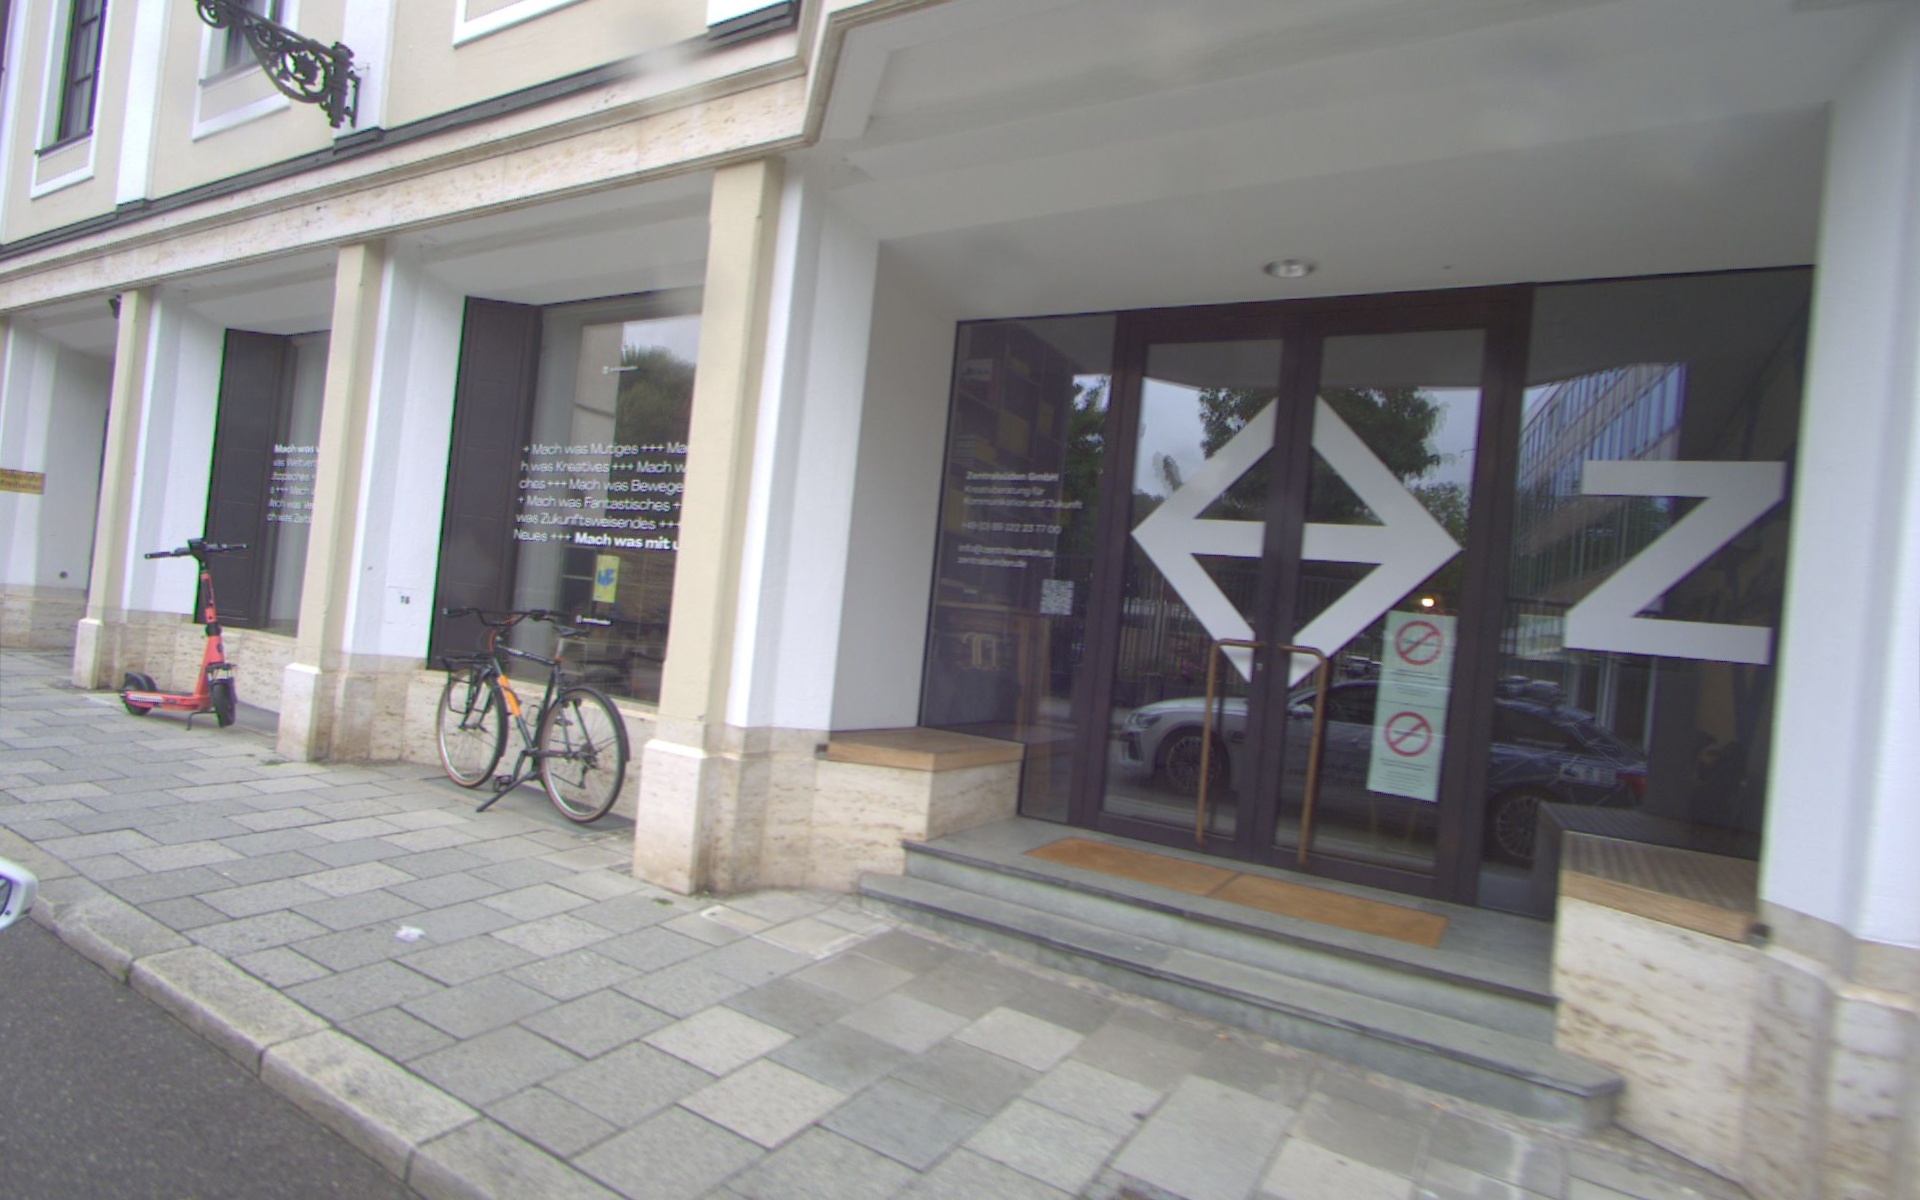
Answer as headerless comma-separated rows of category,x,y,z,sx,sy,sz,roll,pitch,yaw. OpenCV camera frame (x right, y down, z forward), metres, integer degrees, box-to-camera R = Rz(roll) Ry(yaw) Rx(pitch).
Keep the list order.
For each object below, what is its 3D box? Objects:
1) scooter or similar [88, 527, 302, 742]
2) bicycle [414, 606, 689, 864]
scooter or similar,-5.220,0.212,6.864,1.253,1.275,0.466,7,2,18
bicycle,-2.315,0.650,5.522,2.049,1.007,0.463,7,1,42
